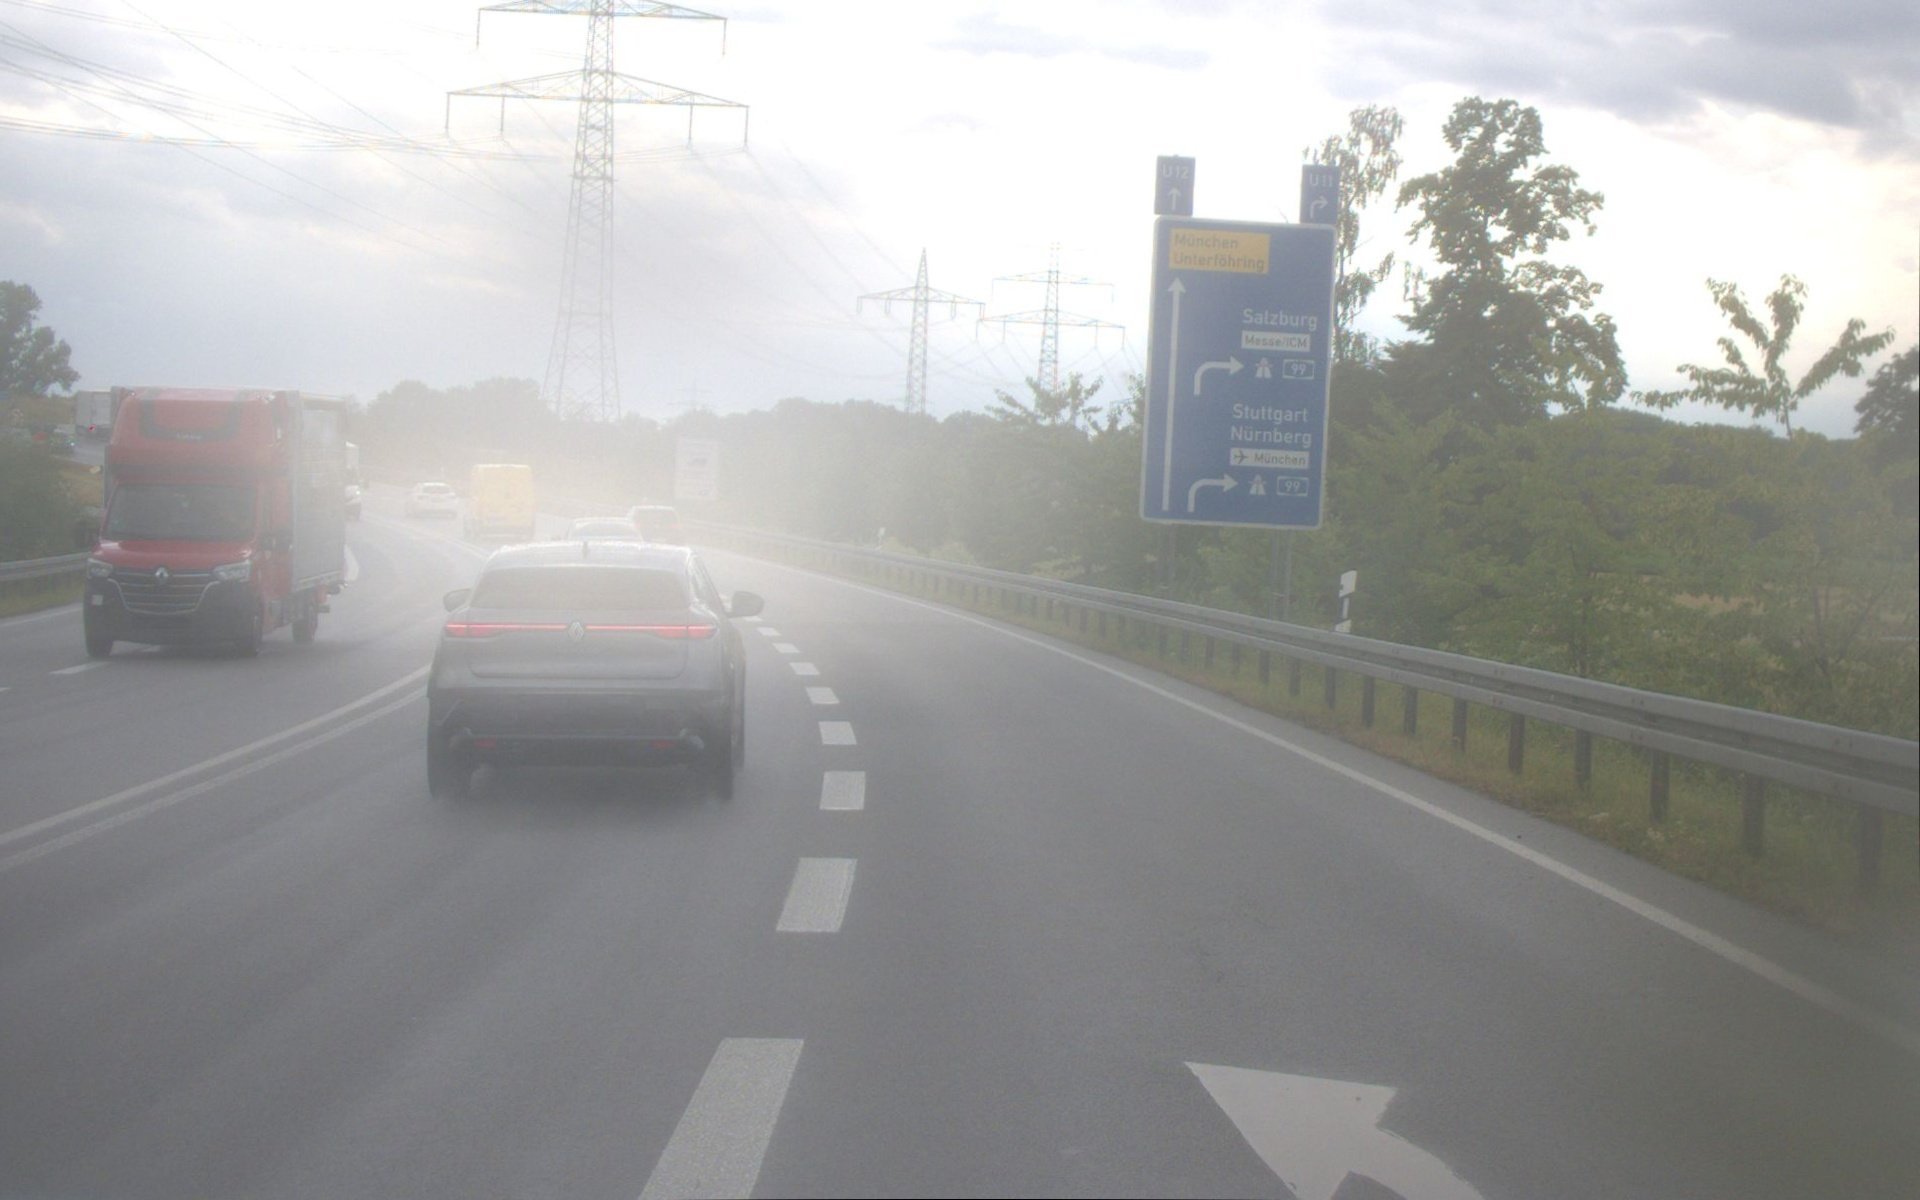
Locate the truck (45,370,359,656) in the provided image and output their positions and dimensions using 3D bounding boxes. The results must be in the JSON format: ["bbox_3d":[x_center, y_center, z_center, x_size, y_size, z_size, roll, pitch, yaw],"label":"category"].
[{"bbox_3d":[-9.356,-1.103,43.201,2.480,3.280,7.281,0,2,-1],"label":"truck"}]

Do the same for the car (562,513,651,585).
[{"bbox_3d":[-7.504,-1.088,73.214,1.791,1.436,4.001,1,1,-5],"label":"car"}]

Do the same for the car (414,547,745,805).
[{"bbox_3d":[-2.247,0.406,21.191,1.791,1.436,4.000,0,0,-3],"label":"car"}]

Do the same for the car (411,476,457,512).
[{"bbox_3d":[-21.594,-4.355,141.308,1.791,1.436,4.001,0,2,-8],"label":"car"}]

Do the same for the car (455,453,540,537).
[{"bbox_3d":[-15.751,-3.580,117.389,2.572,2.716,7.198,-1,2,-6],"label":"car"}]

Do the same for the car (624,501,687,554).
[{"bbox_3d":[-9.006,-2.147,101.397,1.791,1.536,4.001,0,1,-6],"label":"car"}]
